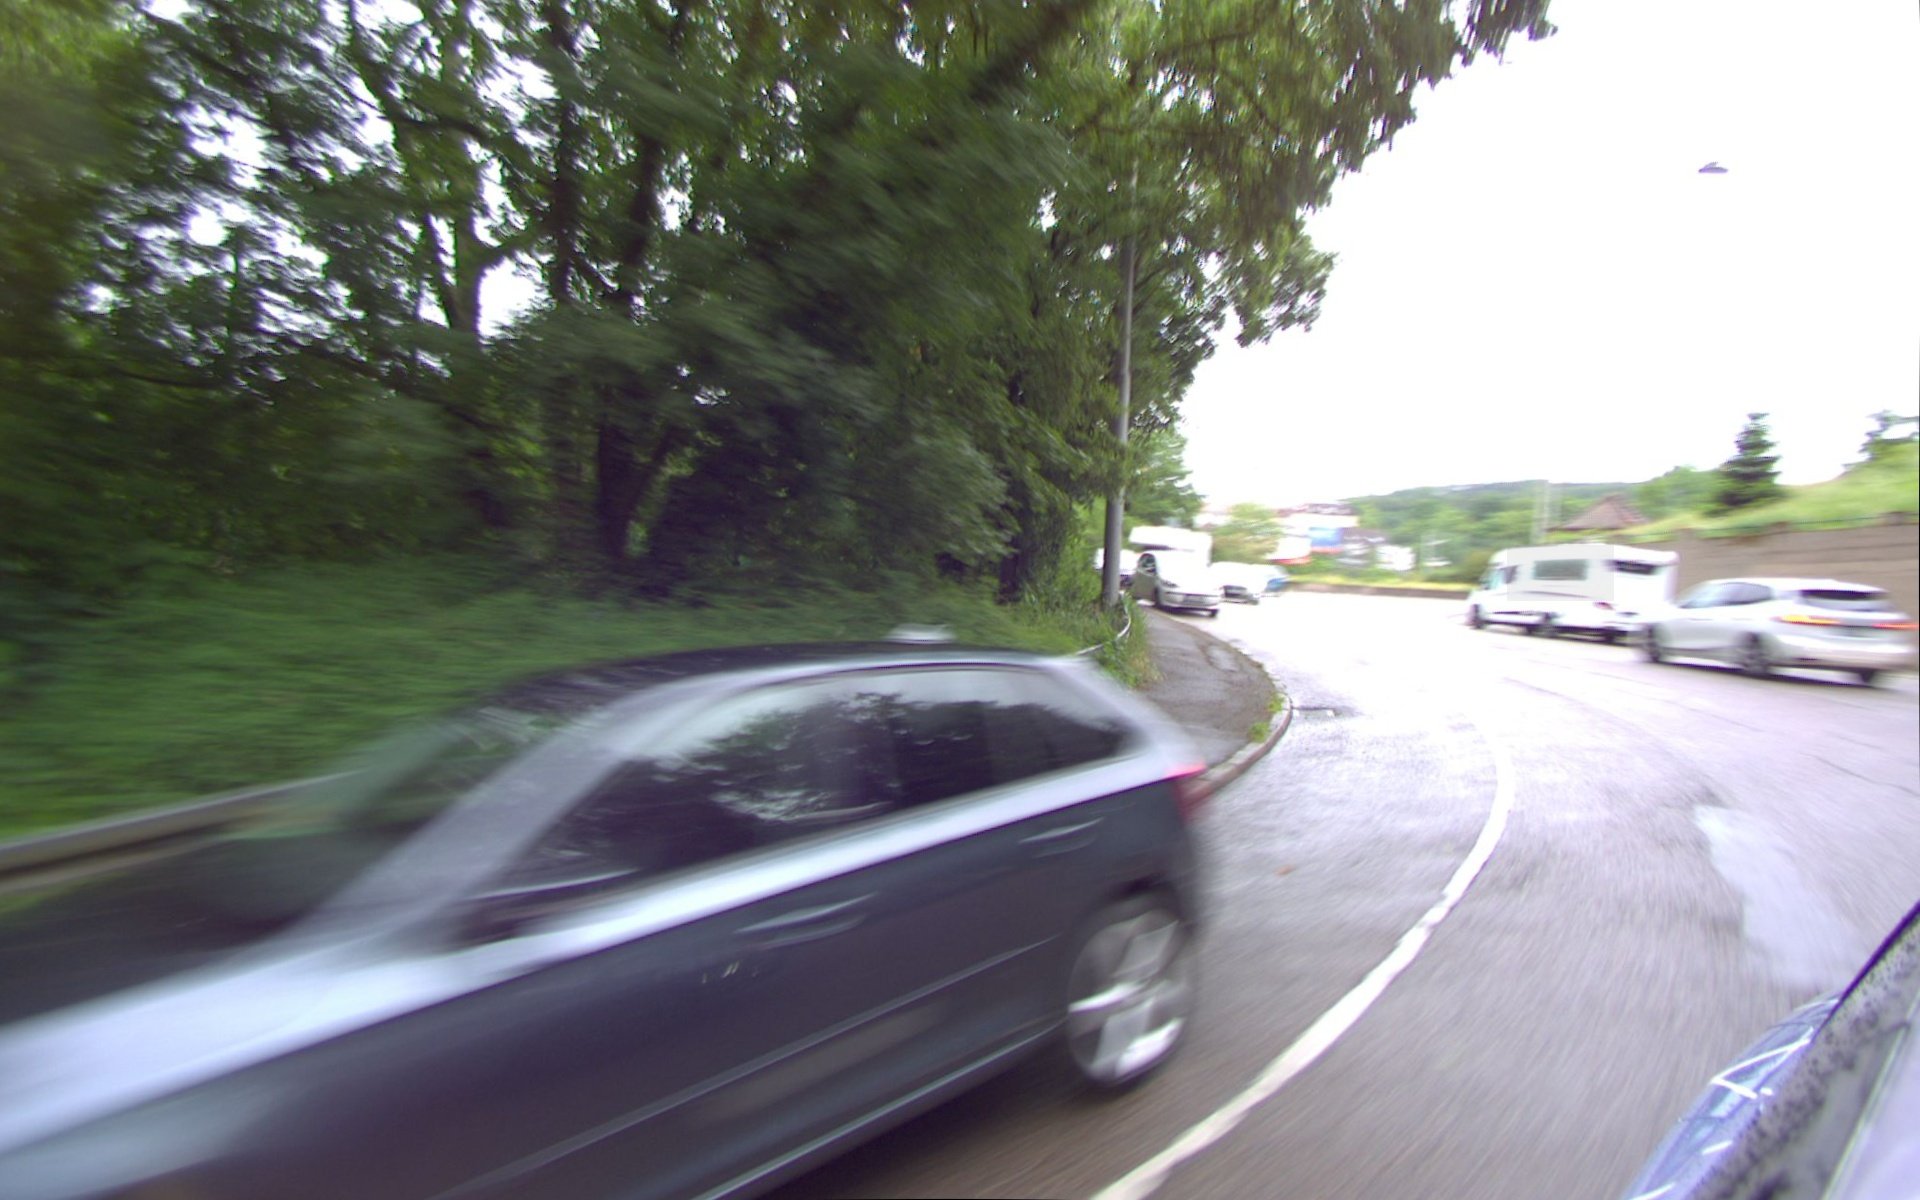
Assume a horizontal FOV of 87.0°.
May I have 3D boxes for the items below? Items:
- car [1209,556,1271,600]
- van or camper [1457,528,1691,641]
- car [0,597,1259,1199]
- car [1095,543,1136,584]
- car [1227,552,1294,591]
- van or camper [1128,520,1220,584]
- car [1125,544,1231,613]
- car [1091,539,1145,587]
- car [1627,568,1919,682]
[{"bbox_3d":[10.180,-0.840,37.069,1.809,1.408,4.310,5,3,12],"label":"car"},{"bbox_3d":[18.163,-0.552,30.604,2.120,2.822,7.058,6,2,-4],"label":"van or camper"},{"bbox_3d":[-0.957,0.760,2.927,3.963,1.484,1.651,0,-1,-42],"label":"car"},{"bbox_3d":[6.720,-1.557,43.493,1.539,1.531,3.665,6,2,10],"label":"car"},{"bbox_3d":[15.729,-1.473,52.895,1.795,1.630,3.978,3,-2,42],"label":"car"},{"bbox_3d":[11.572,-2.516,54.358,2.384,2.979,6.202,7,4,35],"label":"van or camper"},{"bbox_3d":[5.484,-0.607,25.932,1.558,1.519,3.673,3,4,-5],"label":"car"},{"bbox_3d":[5.879,-1.392,38.133,1.695,1.531,4.588,6,3,7],"label":"car"},{"bbox_3d":[13.284,0.296,16.769,1.773,1.589,4.450,2,2,5],"label":"car"}]
